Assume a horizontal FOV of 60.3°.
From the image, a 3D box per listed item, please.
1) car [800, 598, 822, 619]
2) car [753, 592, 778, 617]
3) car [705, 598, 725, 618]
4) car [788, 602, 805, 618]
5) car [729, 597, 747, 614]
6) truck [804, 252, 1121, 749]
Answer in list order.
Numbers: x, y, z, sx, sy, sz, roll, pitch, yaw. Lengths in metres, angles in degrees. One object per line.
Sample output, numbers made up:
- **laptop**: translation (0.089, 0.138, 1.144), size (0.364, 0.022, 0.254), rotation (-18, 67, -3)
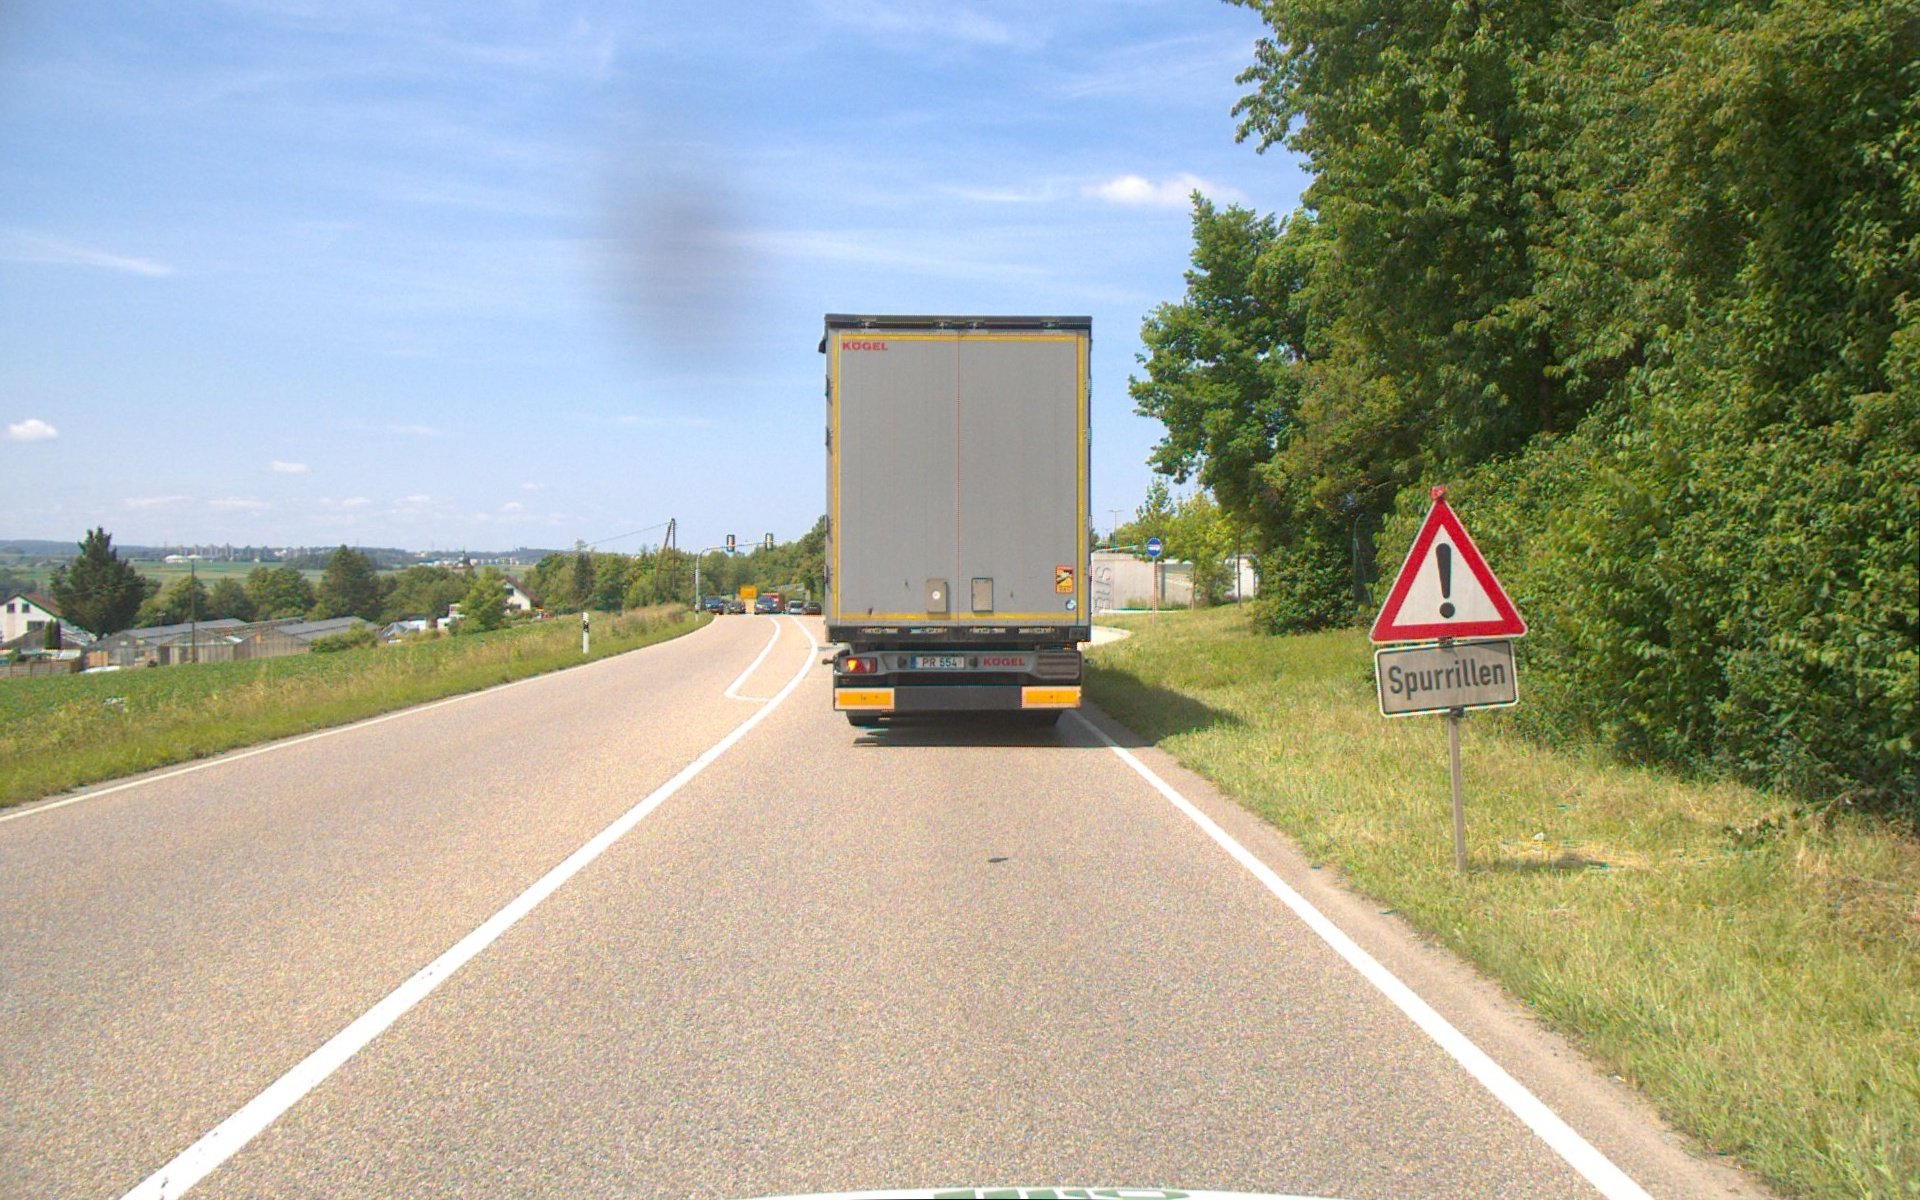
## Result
- **car**: translation (-15.511, 0.856, 172.374), size (2.129, 2.049, 4.522), rotation (-2, 0, -5)
- **car**: translation (-16.767, 0.384, 142.920), size (1.955, 1.984, 4.498), rotation (-2, 0, -5)
- **car**: translation (-26.038, 0.859, 175.888), size (1.956, 2.013, 5.270), rotation (-2, 0, -8)
- **car**: translation (-18.924, 1.154, 191.551), size (1.855, 1.808, 4.382), rotation (-2, 0, -5)
- **car**: translation (-25.427, 0.584, 189.638), size (1.956, 1.847, 4.289), rotation (-2, 1, -8)
- **truck**: translation (-0.197, -0.933, 19.451), size (2.849, 4.487, 8.855), rotation (0, 0, -3)
